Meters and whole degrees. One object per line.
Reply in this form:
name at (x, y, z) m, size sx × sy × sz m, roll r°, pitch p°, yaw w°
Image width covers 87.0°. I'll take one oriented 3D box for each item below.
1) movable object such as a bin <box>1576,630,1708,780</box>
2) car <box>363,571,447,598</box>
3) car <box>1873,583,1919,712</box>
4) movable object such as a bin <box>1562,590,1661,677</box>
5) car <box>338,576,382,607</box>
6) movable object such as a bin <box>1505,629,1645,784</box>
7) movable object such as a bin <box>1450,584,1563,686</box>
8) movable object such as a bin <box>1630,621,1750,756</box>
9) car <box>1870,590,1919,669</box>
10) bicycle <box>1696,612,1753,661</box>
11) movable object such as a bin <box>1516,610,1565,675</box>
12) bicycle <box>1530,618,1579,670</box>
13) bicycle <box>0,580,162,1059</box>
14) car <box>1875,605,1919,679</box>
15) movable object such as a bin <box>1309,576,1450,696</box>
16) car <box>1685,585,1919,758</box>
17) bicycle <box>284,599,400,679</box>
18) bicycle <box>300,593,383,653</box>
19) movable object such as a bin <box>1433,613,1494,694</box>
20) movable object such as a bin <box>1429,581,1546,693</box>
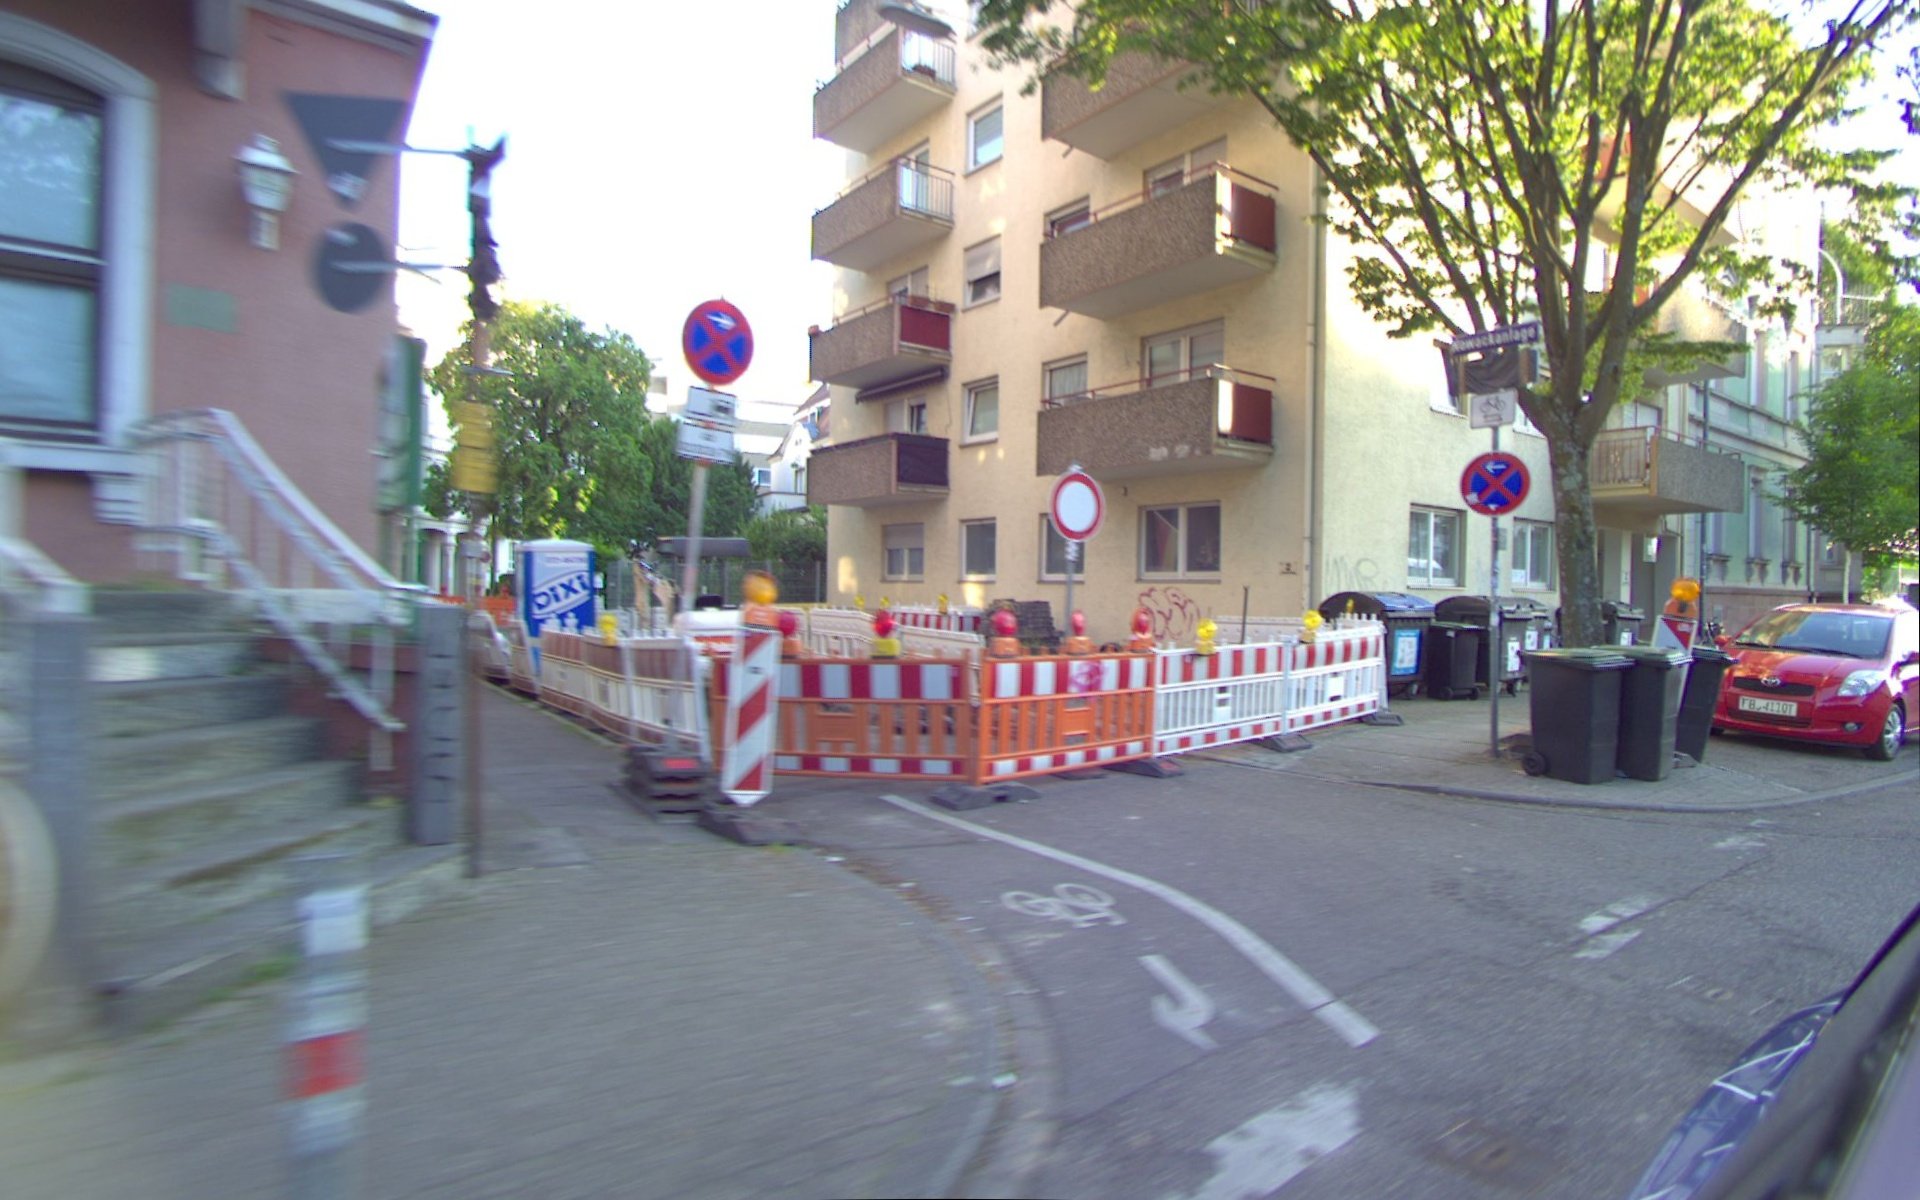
movable object such as a bin at (5.718, 0.848, 8.503) m, size 0.576 × 1.168 × 0.716 m, roll 1°, pitch 0°, yaw -25°
car at (-31.474, -0.888, 57.535) m, size 1.515 × 1.438 × 4.208 m, roll 2°, pitch 1°, yaw 21°
car at (14.326, 0.655, 13.870) m, size 4.010 × 1.652 × 1.750 m, roll 0°, pitch 3°, yaw -35°
movable object such as a bin at (12.008, 0.588, 18.652) m, size 1.455 × 1.521 × 1.116 m, roll 1°, pitch 0°, yaw -38°
car at (-29.997, -0.457, 50.594) m, size 1.504 × 1.438 × 3.697 m, roll 1°, pitch 1°, yaw -37°
movable object such as a bin at (5.068, 0.843, 8.365) m, size 0.576 × 1.168 × 0.797 m, roll 0°, pitch 0°, yaw -25°
movable object such as a bin at (8.553, 0.517, 15.836) m, size 1.247 × 1.521 × 1.143 m, roll 1°, pitch 0°, yaw -38°
movable object such as a bin at (6.805, 0.802, 9.462) m, size 0.612 × 1.168 × 0.715 m, roll 1°, pitch 0°, yaw 6°
car at (23.269, 0.693, 22.482) m, size 4.164 × 1.747 × 1.708 m, roll 1°, pitch 0°, yaw 24°
bicycle at (17.605, 0.824, 23.296) m, size 1.527 × 1.088 × 0.652 m, roll 1°, pitch 0°, yaw -38°
movable object such as a bin at (9.827, 0.706, 17.128) m, size 0.560 × 1.060 × 0.555 m, roll 1°, pitch 0°, yaw -38°
bicycle at (10.493, 0.761, 17.843) m, size 1.204 × 0.875 × 0.413 m, roll 1°, pitch 0°, yaw -43°
bicycle at (-3.449, 0.575, 3.136) m, size 1.893 × 1.282 × 0.598 m, roll 2°, pitch 1°, yaw 19°
car at (21.538, 0.883, 20.450) m, size 4.163 × 1.472 × 1.632 m, roll 1°, pitch 0°, yaw 23°
movable object such as a bin at (5.718, 0.456, 13.783) m, size 1.569 × 1.521 × 1.143 m, roll 1°, pitch 0°, yaw -38°
car at (9.686, 0.668, 11.069) m, size 3.620 × 1.555 × 1.571 m, roll 1°, pitch 2°, yaw -33°
bicycle at (-8.890, 0.545, 14.584) m, size 1.371 × 1.088 × 0.464 m, roll 1°, pitch 1°, yaw -37°
bicycle at (-11.621, 0.410, 19.044) m, size 0.490 × 1.088 × 1.247 m, roll 1°, pitch 0°, yaw 27°
movable object such as a bin at (6.943, 0.722, 13.953) m, size 0.560 × 1.060 × 0.555 m, roll 1°, pitch 0°, yaw -38°
movable object such as a bin at (7.633, 0.498, 14.634) m, size 1.295 × 1.521 × 1.074 m, roll 1°, pitch 0°, yaw -39°
